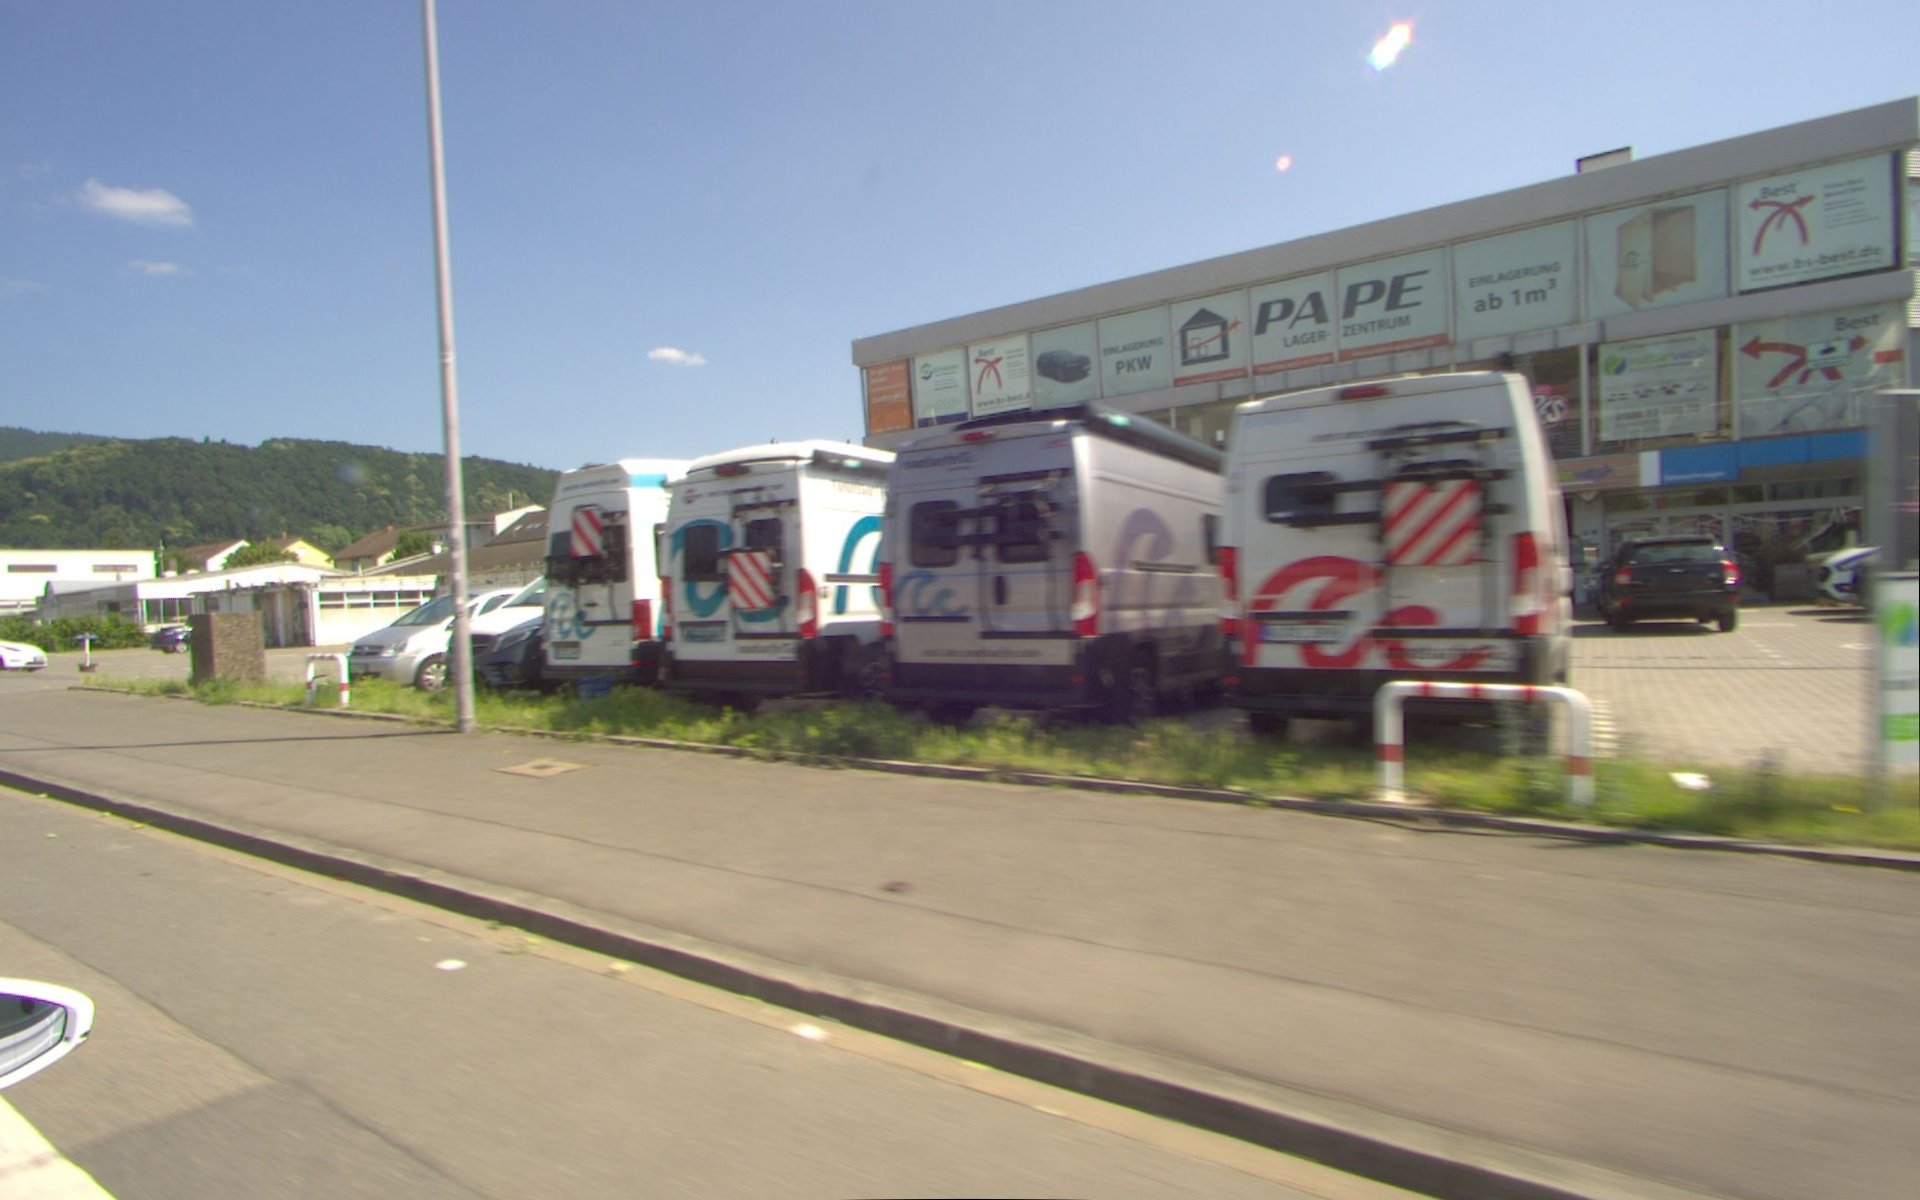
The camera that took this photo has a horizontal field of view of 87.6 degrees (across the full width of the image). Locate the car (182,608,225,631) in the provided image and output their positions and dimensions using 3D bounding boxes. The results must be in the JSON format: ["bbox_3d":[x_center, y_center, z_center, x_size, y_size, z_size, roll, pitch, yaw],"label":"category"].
[{"bbox_3d":[-58.943,1.508,78.094,1.969,1.669,3.982,0,0,-27],"label":"car"}]

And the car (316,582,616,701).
[{"bbox_3d":[-7.699,0.558,15.970,1.773,1.614,3.911,-1,1,33],"label":"car"}]

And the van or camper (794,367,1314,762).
[{"bbox_3d":[1.478,-0.296,10.383,2.675,2.753,6.331,-1,1,33],"label":"van or camper"}]

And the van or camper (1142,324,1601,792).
[{"bbox_3d":[4.050,-0.277,8.791,2.583,2.558,6.178,-1,1,33],"label":"van or camper"}]

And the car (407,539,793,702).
[{"bbox_3d":[-5.037,0.169,14.900,1.972,1.978,5.219,-1,2,33],"label":"car"}]

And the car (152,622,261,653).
[{"bbox_3d":[-40.724,2.004,54.183,2.092,1.416,4.312,-1,0,37],"label":"car"}]

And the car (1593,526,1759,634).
[{"bbox_3d":[12.889,-0.356,18.309,1.970,1.701,4.530,-1,1,30],"label":"car"}]

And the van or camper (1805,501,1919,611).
[{"bbox_3d":[19.658,-0.894,19.102,5.037,2.041,2.114,-1,1,28],"label":"van or camper"}]

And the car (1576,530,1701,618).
[{"bbox_3d":[15.080,-0.567,22.470,1.970,1.756,4.098,-1,1,30],"label":"car"}]

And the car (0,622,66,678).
[{"bbox_3d":[-31.673,1.642,31.464,4.955,1.640,2.024,-1,-5,-14],"label":"car"}]

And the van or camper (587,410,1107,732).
[{"bbox_3d":[-0.842,-0.296,11.927,2.675,2.736,6.331,-1,1,33],"label":"van or camper"}]

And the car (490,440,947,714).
[{"bbox_3d":[-2.888,-0.298,13.872,2.288,2.908,6.210,-1,1,33],"label":"car"}]

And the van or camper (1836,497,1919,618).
[{"bbox_3d":[18.335,-0.791,16.929,4.944,2.041,1.992,-1,1,27],"label":"van or camper"}]

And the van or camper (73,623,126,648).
[{"bbox_3d":[-62.811,2.591,73.195,1.970,1.563,4.209,-7,2,-29],"label":"van or camper"}]

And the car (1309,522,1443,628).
[{"bbox_3d":[10.980,-0.625,26.155,2.293,2.451,5.282,-1,1,33],"label":"car"}]
